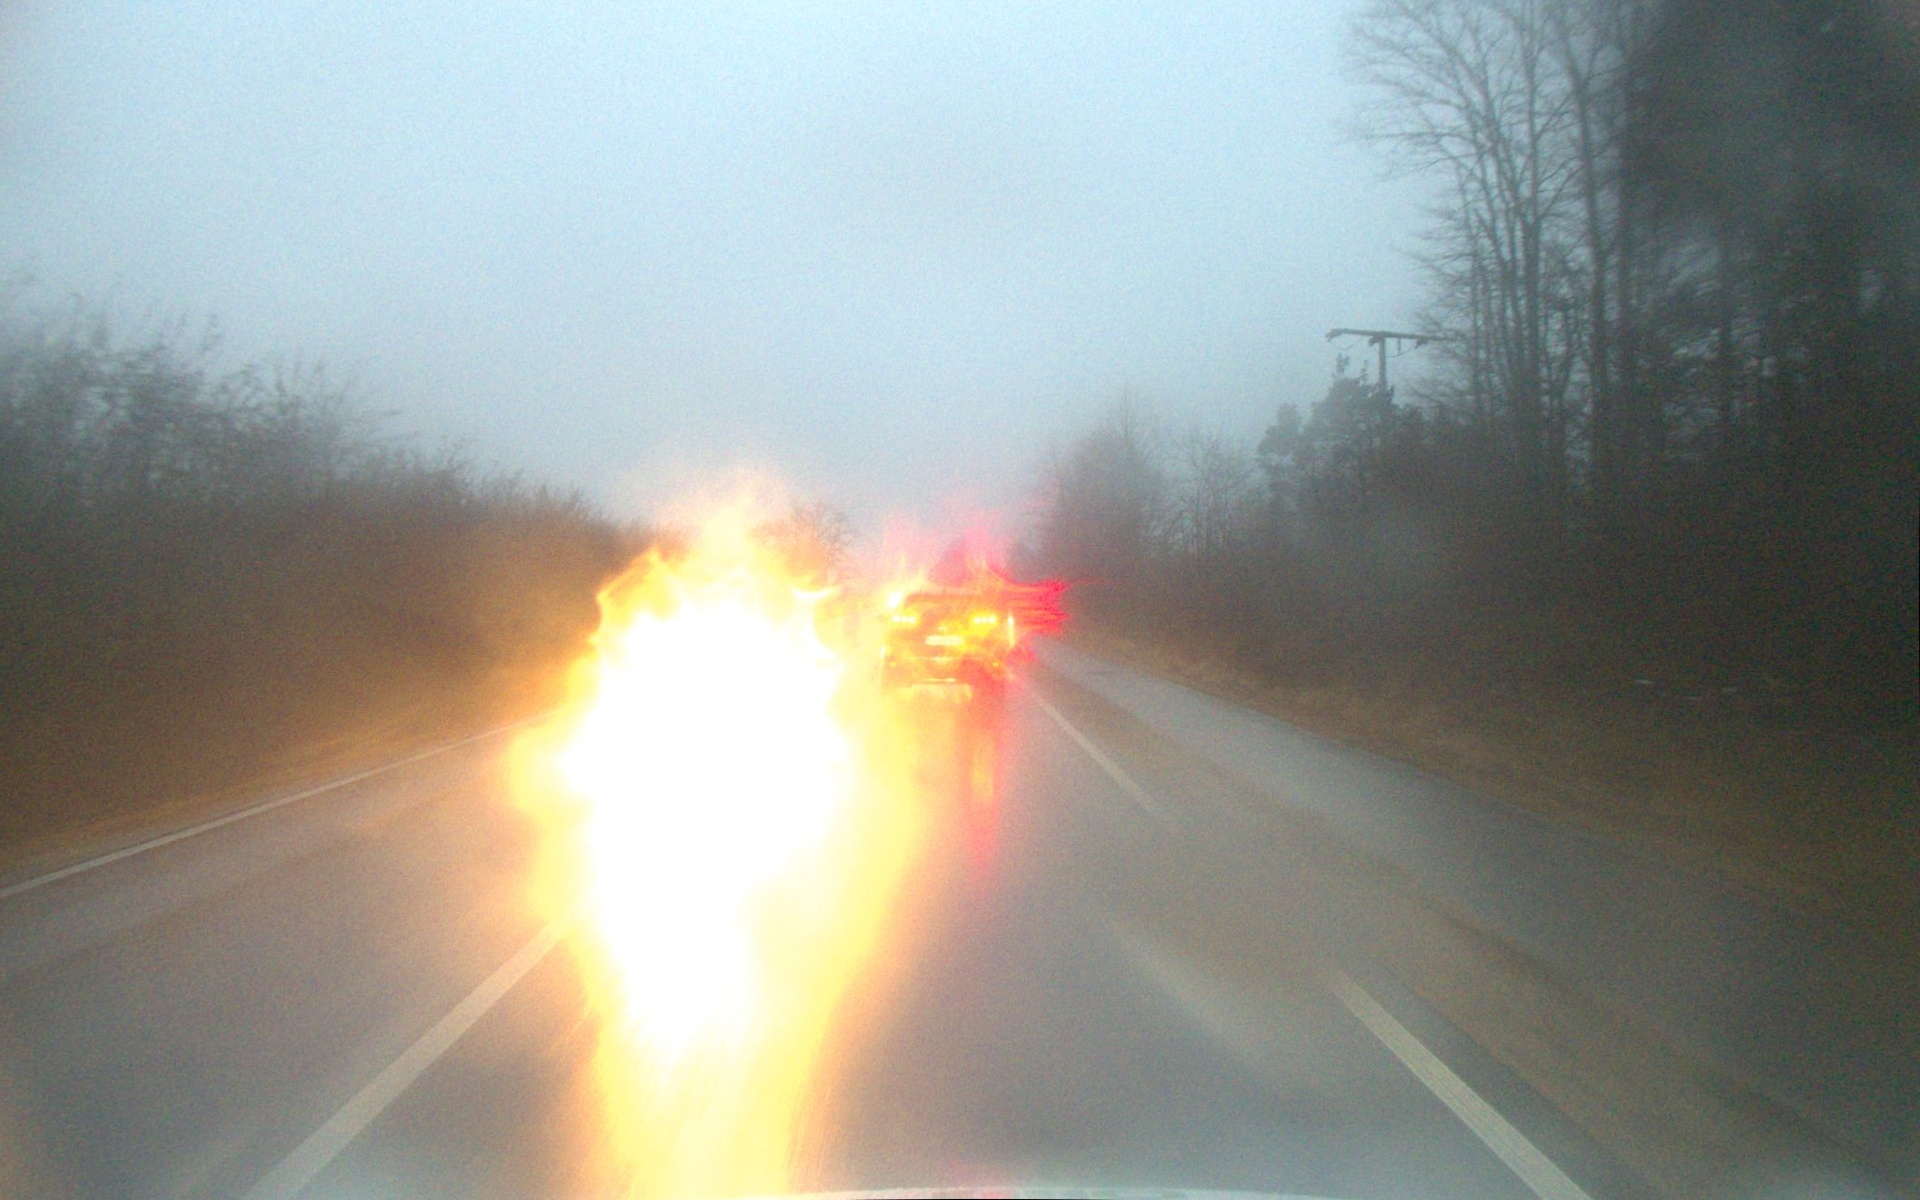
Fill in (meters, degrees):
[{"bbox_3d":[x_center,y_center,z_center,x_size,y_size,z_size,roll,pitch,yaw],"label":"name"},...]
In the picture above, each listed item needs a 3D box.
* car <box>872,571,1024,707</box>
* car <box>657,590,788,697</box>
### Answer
[{"bbox_3d":[-0.212,0.523,25.200,2.077,1.852,4.979,0,0,-1],"label":"car"},{"bbox_3d":[-3.973,0.685,28.212,1.731,1.626,3.998,-2,0,-2],"label":"car"}]
